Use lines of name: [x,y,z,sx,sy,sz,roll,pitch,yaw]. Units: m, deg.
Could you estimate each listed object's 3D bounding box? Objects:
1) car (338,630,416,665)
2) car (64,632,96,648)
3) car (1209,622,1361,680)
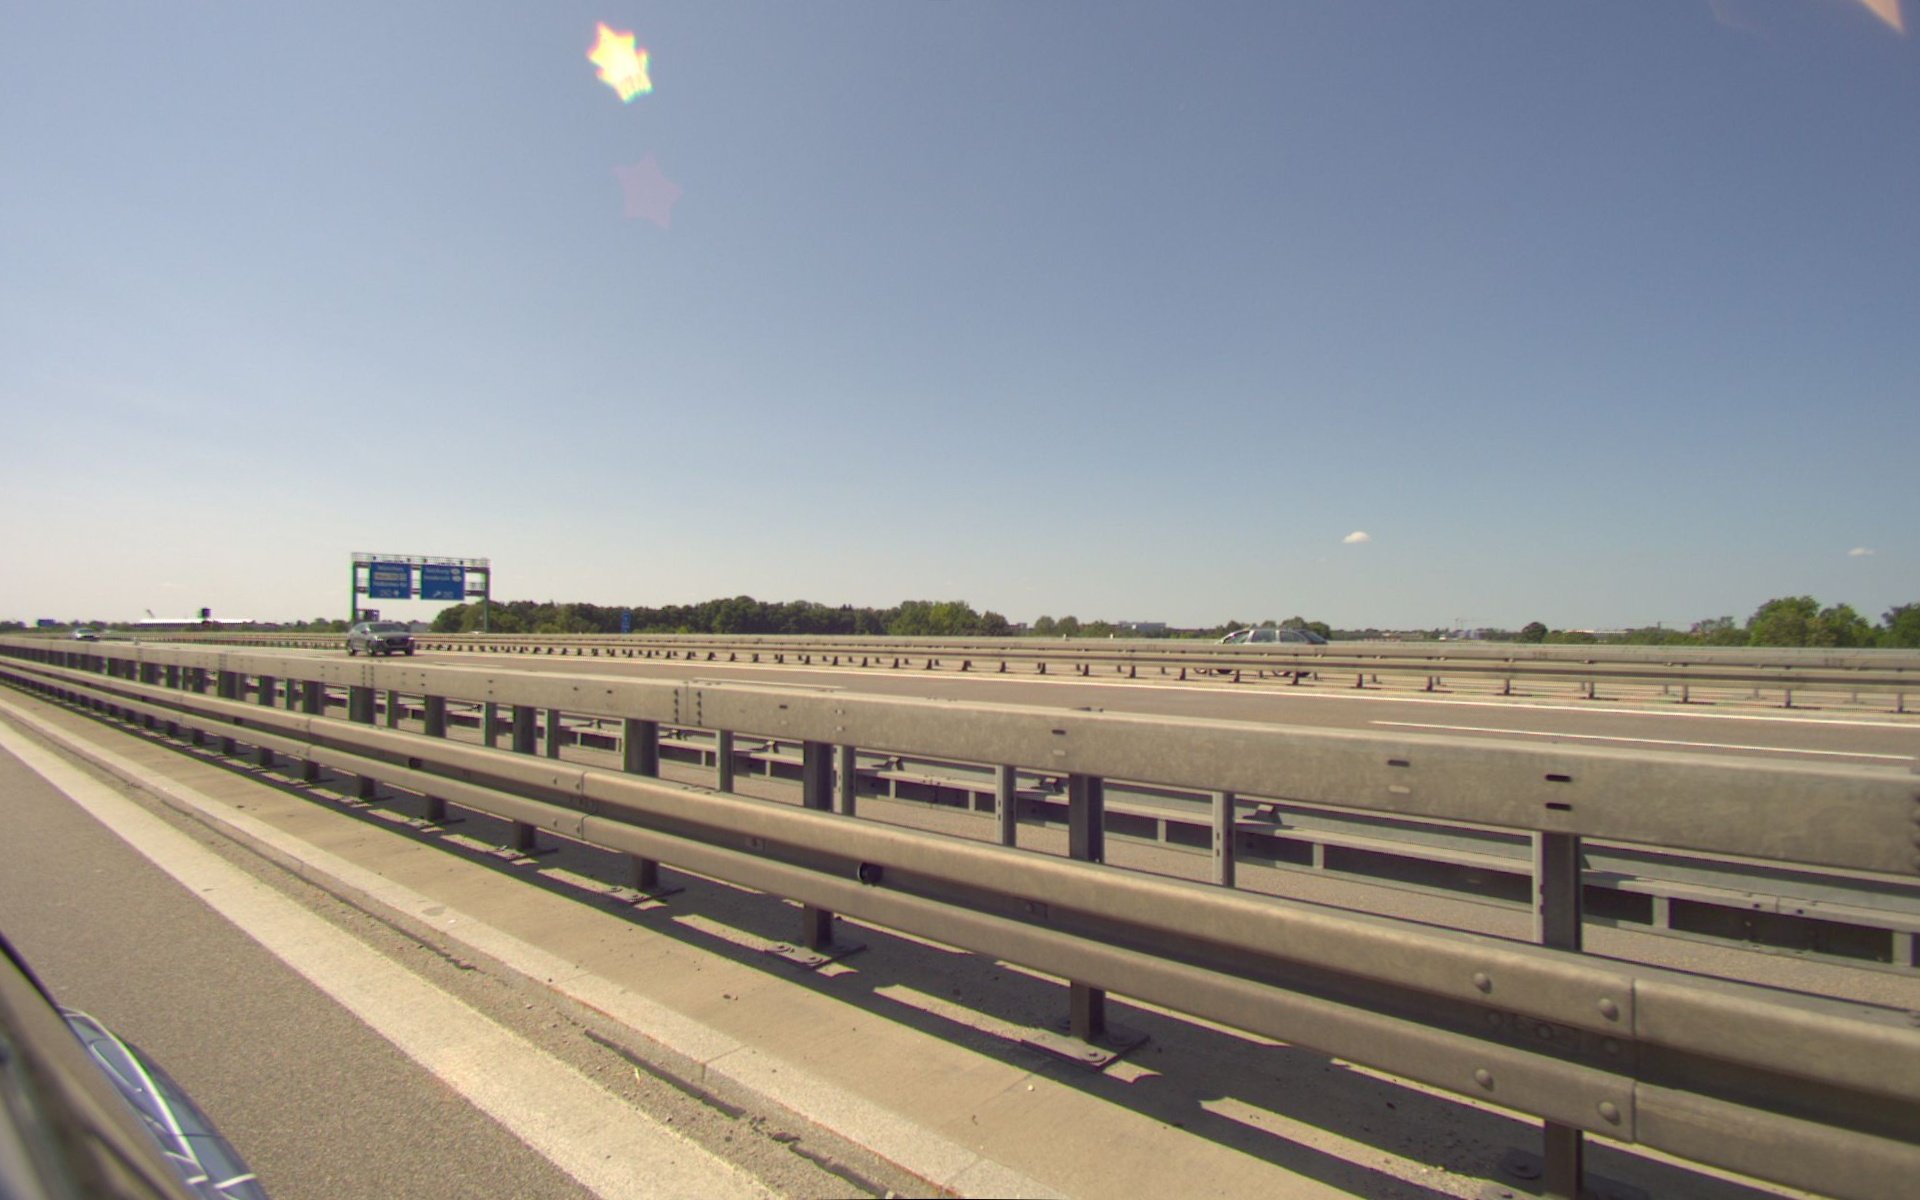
car: [-27.136,2.155,47.053,4.574,1.529,1.818,-2,-2,42]
car: [-87.397,3.997,100.467,4.574,1.529,1.818,-2,-2,42]
car: [9.726,1.480,30.426,3.997,1.608,1.761,-2,-1,40]
